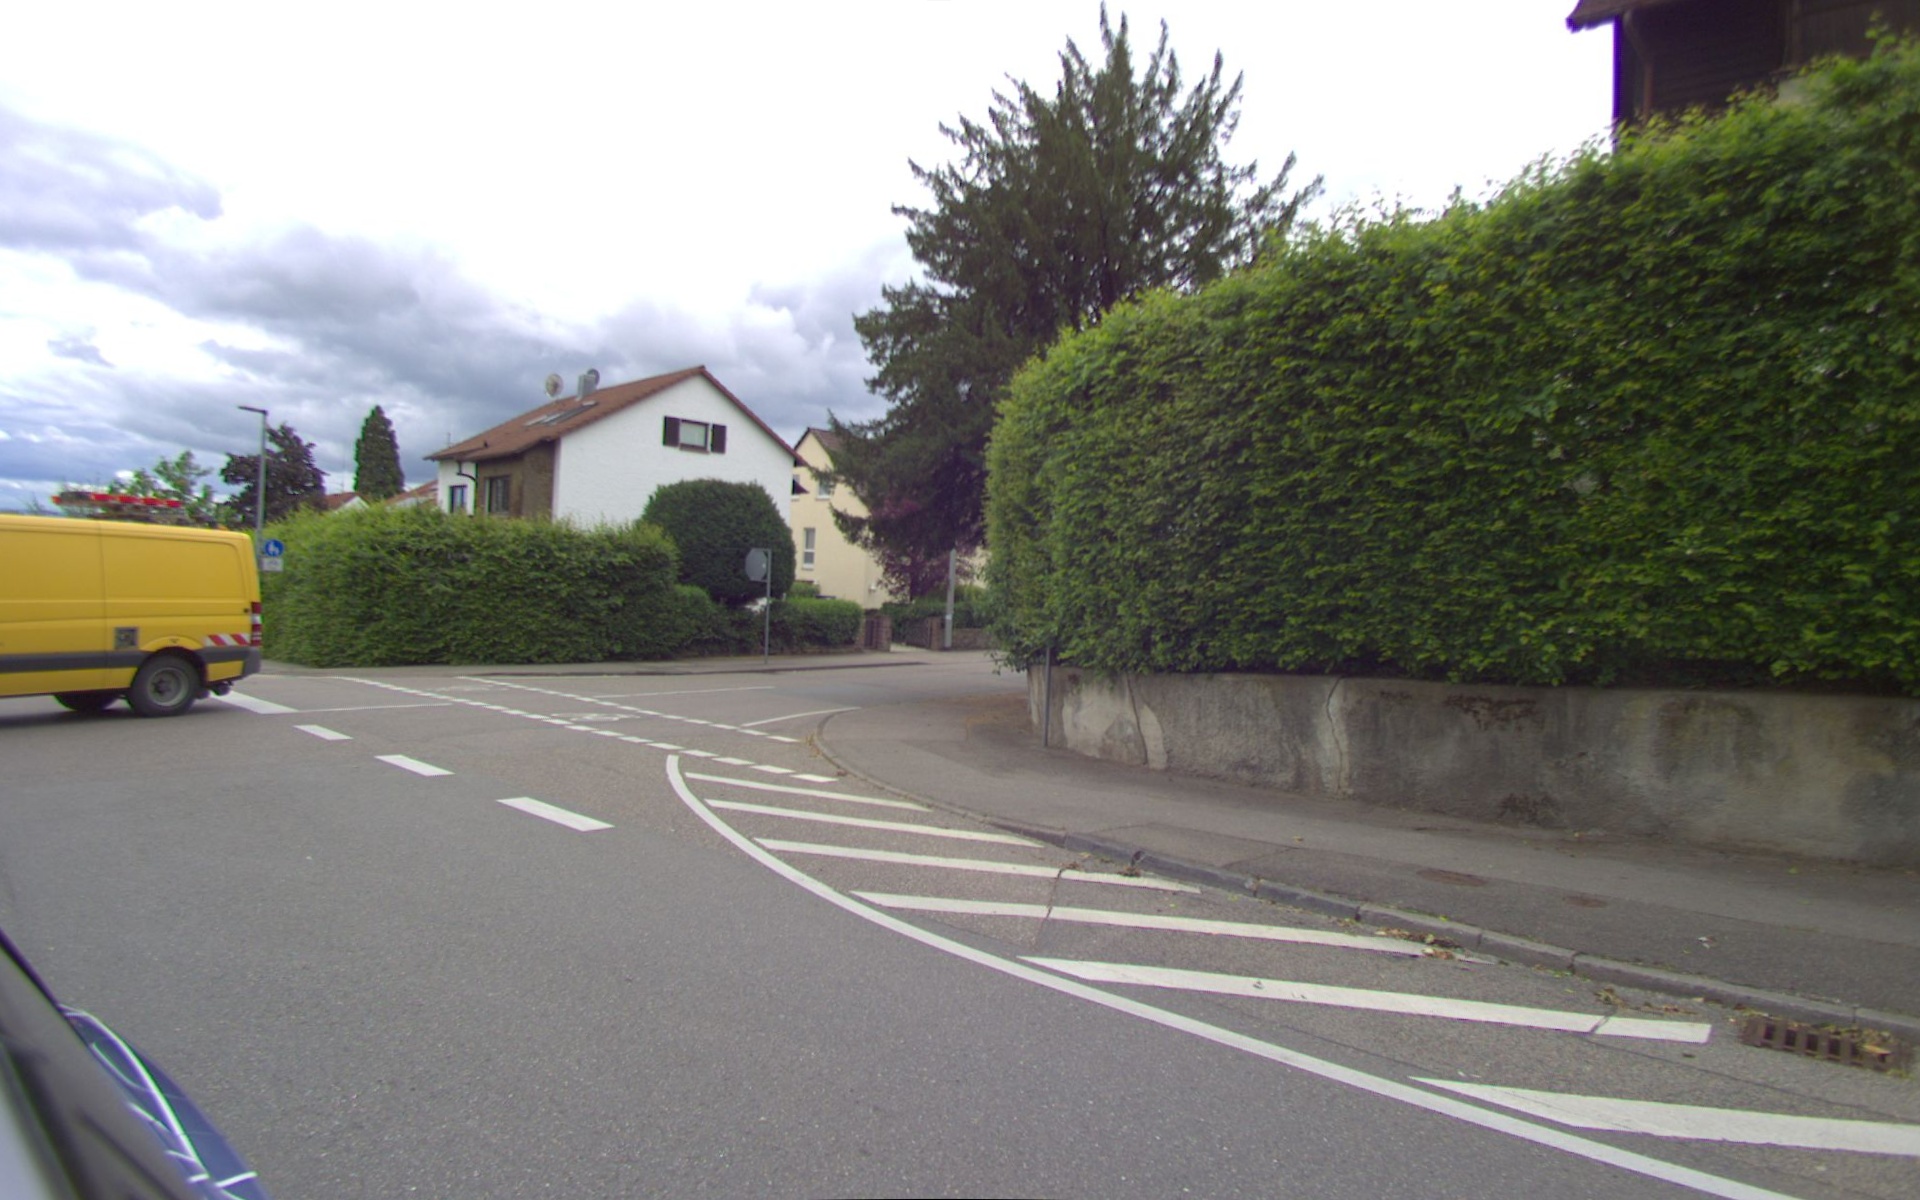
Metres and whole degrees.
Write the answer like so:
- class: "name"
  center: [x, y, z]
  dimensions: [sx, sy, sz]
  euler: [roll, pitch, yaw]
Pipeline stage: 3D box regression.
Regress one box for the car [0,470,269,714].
- class: "car"
  center: [-11.462, -0.090, 11.092]
  dimensions: [2.352, 2.621, 6.096]
  euler: [0, -2, 22]
